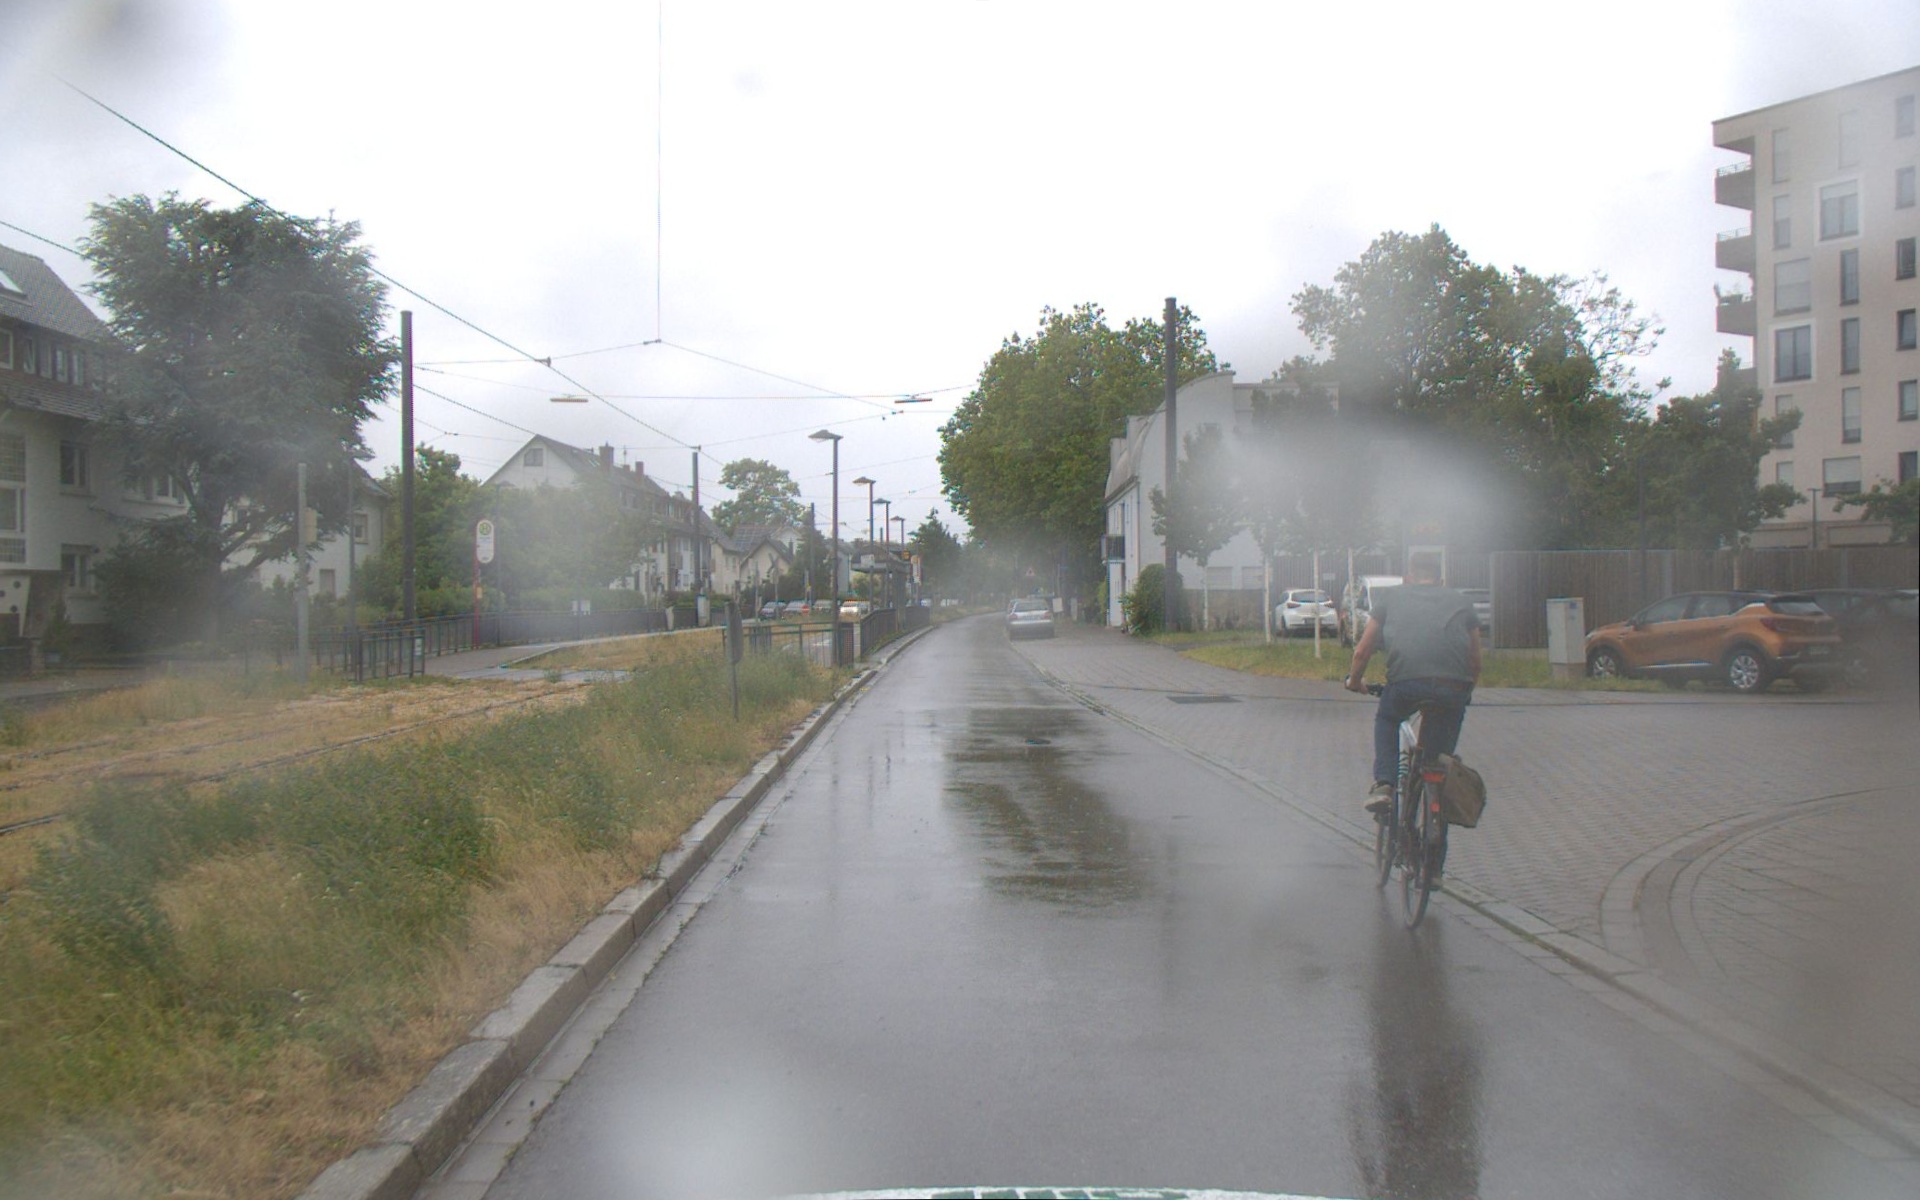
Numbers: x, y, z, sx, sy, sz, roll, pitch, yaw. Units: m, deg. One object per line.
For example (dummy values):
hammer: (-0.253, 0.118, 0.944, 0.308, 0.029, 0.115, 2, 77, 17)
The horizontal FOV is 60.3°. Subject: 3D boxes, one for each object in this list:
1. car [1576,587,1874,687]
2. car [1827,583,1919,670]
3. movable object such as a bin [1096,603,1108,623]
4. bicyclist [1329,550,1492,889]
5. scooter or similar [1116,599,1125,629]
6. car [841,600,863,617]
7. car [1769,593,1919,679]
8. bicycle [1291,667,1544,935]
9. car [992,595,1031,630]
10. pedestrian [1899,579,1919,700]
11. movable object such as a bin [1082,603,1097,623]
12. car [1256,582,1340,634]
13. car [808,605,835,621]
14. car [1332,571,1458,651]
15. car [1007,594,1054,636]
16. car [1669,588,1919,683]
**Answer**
car: (12.089, 0.570, 26.377, 1.971, 1.466, 3.962, 1, -1, -28)
car: (18.802, 0.497, 30.840, 1.946, 1.614, 4.311, 0, 1, -34)
movable object such as a bin: (7.532, 0.674, 87.595, 0.525, 1.040, 0.738, -3, -1, 0)
bicyclist: (2.210, 0.565, 8.179, 0.524, 1.587, 0.771, 0, -1, -7)
scooter or similar: (5.994, 0.512, 61.809, 0.326, 1.104, 1.396, 0, -1, 6)
car: (-9.850, 0.781, 151.119, 1.599, 1.519, 4.001, 0, -1, 2)
car: (16.838, 0.637, 29.492, 1.971, 1.466, 3.962, 1, -1, -28)
bicycle: (2.195, 0.915, 8.201, 0.526, 1.112, 1.946, 0, -1, -6)
car: (2.443, 0.623, 79.052, 1.770, 1.493, 3.794, -4, -1, 1)
pedestrian: (12.793, 0.507, 21.171, 0.826, 1.544, 1.084, 1, -1, -30)
movable object such as a bin: (6.911, 0.677, 88.429, 0.678, 1.040, 0.824, -3, -1, 0)
car: (10.635, 0.207, 52.360, 1.922, 1.561, 4.365, 0, 1, 2)
car: (-12.807, 1.210, 153.074, 1.888, 1.512, 4.002, 0, -1, 4)
car: (10.437, 0.228, 40.081, 1.922, 1.815, 4.898, 0, 1, 2)
car: (2.651, 0.577, 63.009, 1.616, 1.430, 4.649, -4, -1, 1)
car: (14.287, 0.579, 27.874, 1.971, 1.466, 3.962, 1, -1, -28)
